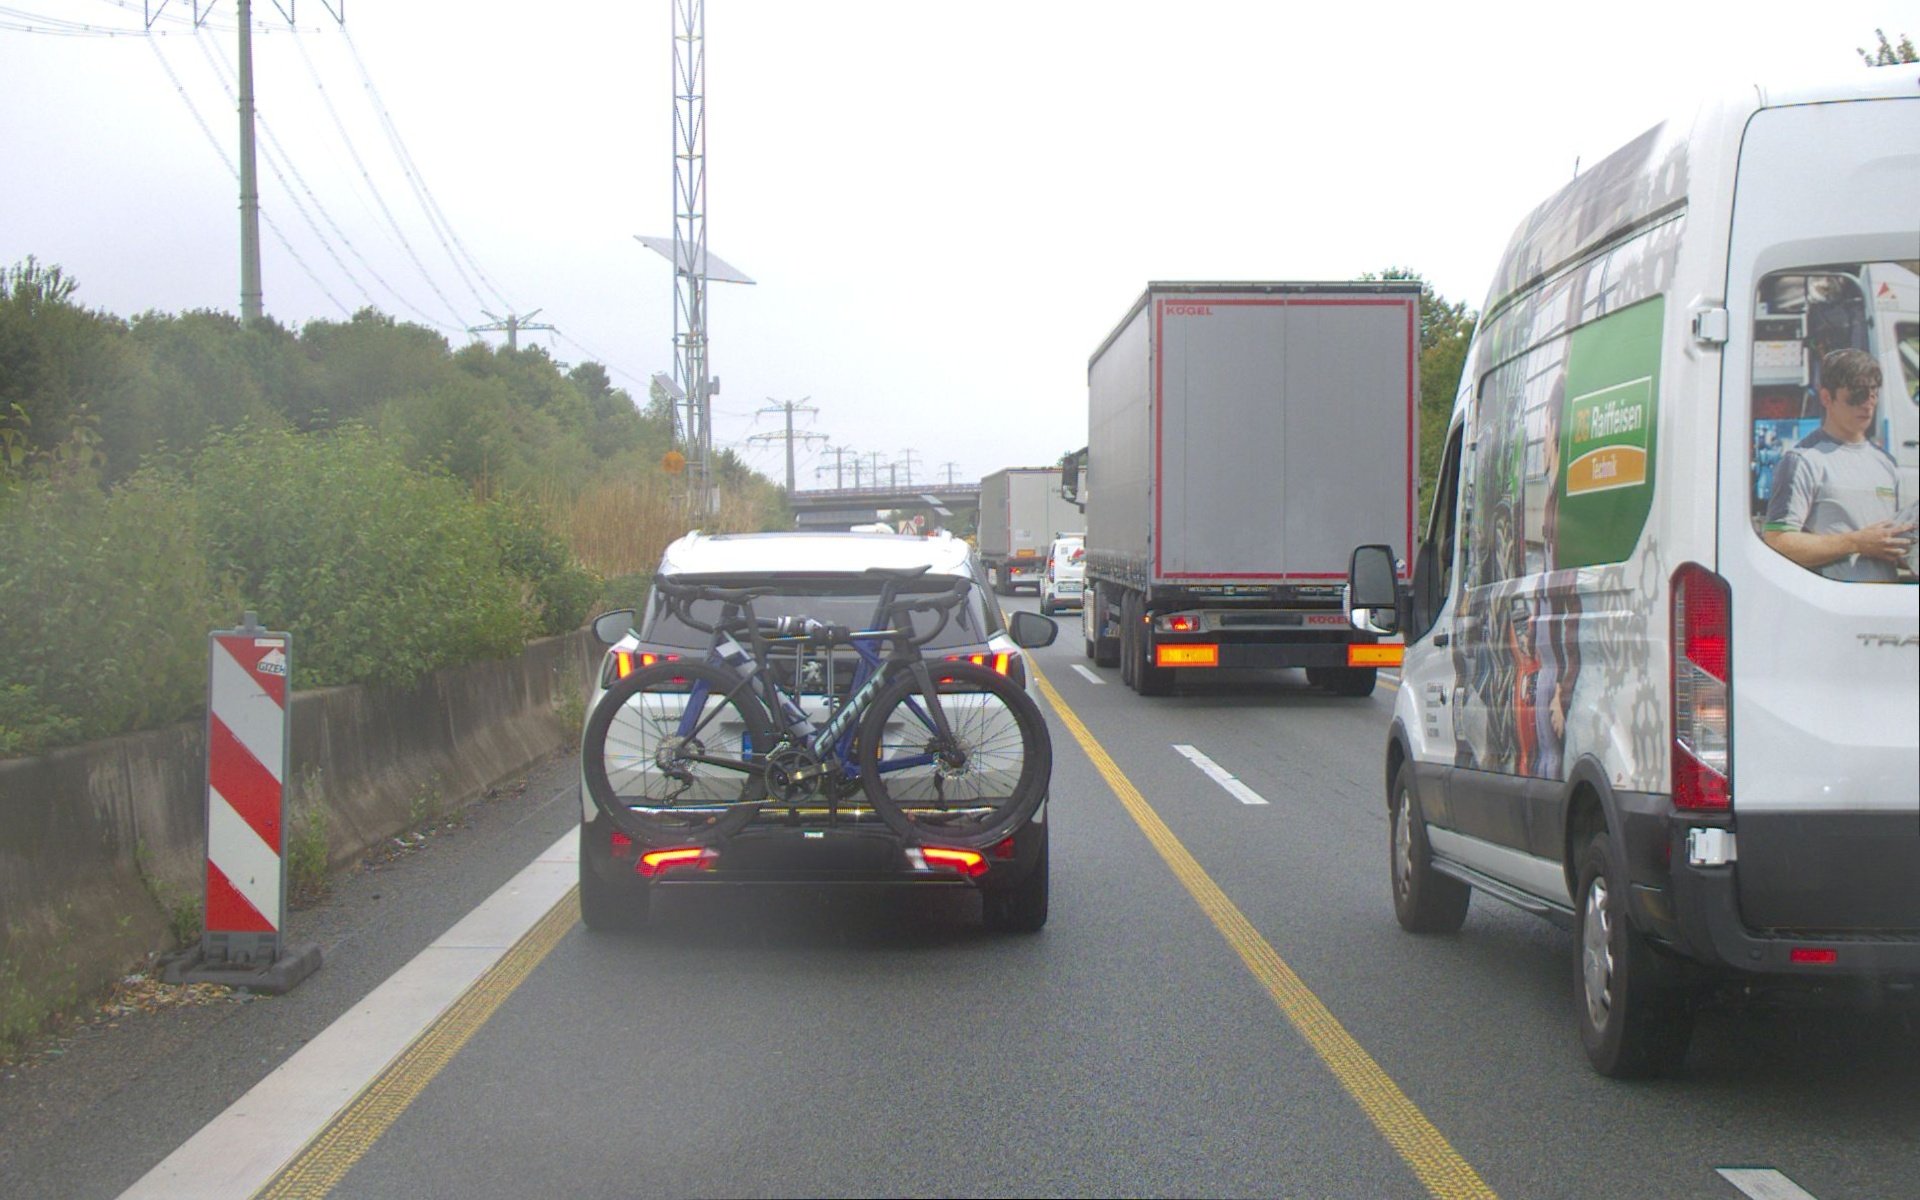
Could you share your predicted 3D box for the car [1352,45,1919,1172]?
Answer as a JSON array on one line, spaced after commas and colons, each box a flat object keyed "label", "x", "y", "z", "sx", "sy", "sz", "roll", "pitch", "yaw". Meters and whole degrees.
[{"label": "car", "x": 2.699, "y": -0.032, "z": 11.361, "sx": 1.993, "sy": 2.773, "sz": 5.757, "roll": 0, "pitch": 1, "yaw": -2}]

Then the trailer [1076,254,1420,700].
[{"label": "trailer", "x": 2.908, "y": -1.256, "z": 38.809, "sx": 2.706, "sy": 4.132, "sz": 13.732, "roll": 0, "pitch": 1, "yaw": 0}]

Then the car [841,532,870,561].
[{"label": "car", "x": -7.318, "y": -3.764, "z": 240.337, "sx": 1.931, "sy": 1.966, "sz": 4.001, "roll": 0, "pitch": 2, "yaw": -1}]

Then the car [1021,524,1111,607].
[{"label": "car", "x": 2.390, "y": -0.810, "z": 78.574, "sx": 1.829, "sy": 1.833, "sz": 4.656, "roll": 0, "pitch": 1, "yaw": -1}]

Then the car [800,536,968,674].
[{"label": "car", "x": -0.872, "y": 0.019, "z": 40.038, "sx": 1.850, "sy": 1.525, "sz": 4.000, "roll": 0, "pitch": 1, "yaw": -1}]

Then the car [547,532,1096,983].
[{"label": "car", "x": -0.502, "y": 0.493, "z": 14.014, "sx": 1.850, "sy": 1.525, "sz": 4.769, "roll": 0, "pitch": 1, "yaw": -1}]

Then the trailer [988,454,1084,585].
[{"label": "trailer", "x": 2.420, "y": -2.621, "z": 114.064, "sx": 2.692, "sy": 4.062, "sz": 13.634, "roll": 0, "pitch": 1, "yaw": -1}]

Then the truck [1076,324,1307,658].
[{"label": "truck", "x": 2.963, "y": -1.395, "z": 45.425, "sx": 2.706, "sy": 4.124, "sz": 5.691, "roll": 0, "pitch": 1, "yaw": 0}]

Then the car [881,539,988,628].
[{"label": "car", "x": -0.468, "y": -0.316, "z": 61.226, "sx": 1.850, "sy": 1.525, "sz": 4.000, "roll": 0, "pitch": 1, "yaw": -1}]

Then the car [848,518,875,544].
[{"label": "car", "x": -7.396, "y": -5.168, "z": 258.072, "sx": 1.931, "sy": 1.904, "sz": 4.001, "roll": 0, "pitch": 2, "yaw": -1}]
